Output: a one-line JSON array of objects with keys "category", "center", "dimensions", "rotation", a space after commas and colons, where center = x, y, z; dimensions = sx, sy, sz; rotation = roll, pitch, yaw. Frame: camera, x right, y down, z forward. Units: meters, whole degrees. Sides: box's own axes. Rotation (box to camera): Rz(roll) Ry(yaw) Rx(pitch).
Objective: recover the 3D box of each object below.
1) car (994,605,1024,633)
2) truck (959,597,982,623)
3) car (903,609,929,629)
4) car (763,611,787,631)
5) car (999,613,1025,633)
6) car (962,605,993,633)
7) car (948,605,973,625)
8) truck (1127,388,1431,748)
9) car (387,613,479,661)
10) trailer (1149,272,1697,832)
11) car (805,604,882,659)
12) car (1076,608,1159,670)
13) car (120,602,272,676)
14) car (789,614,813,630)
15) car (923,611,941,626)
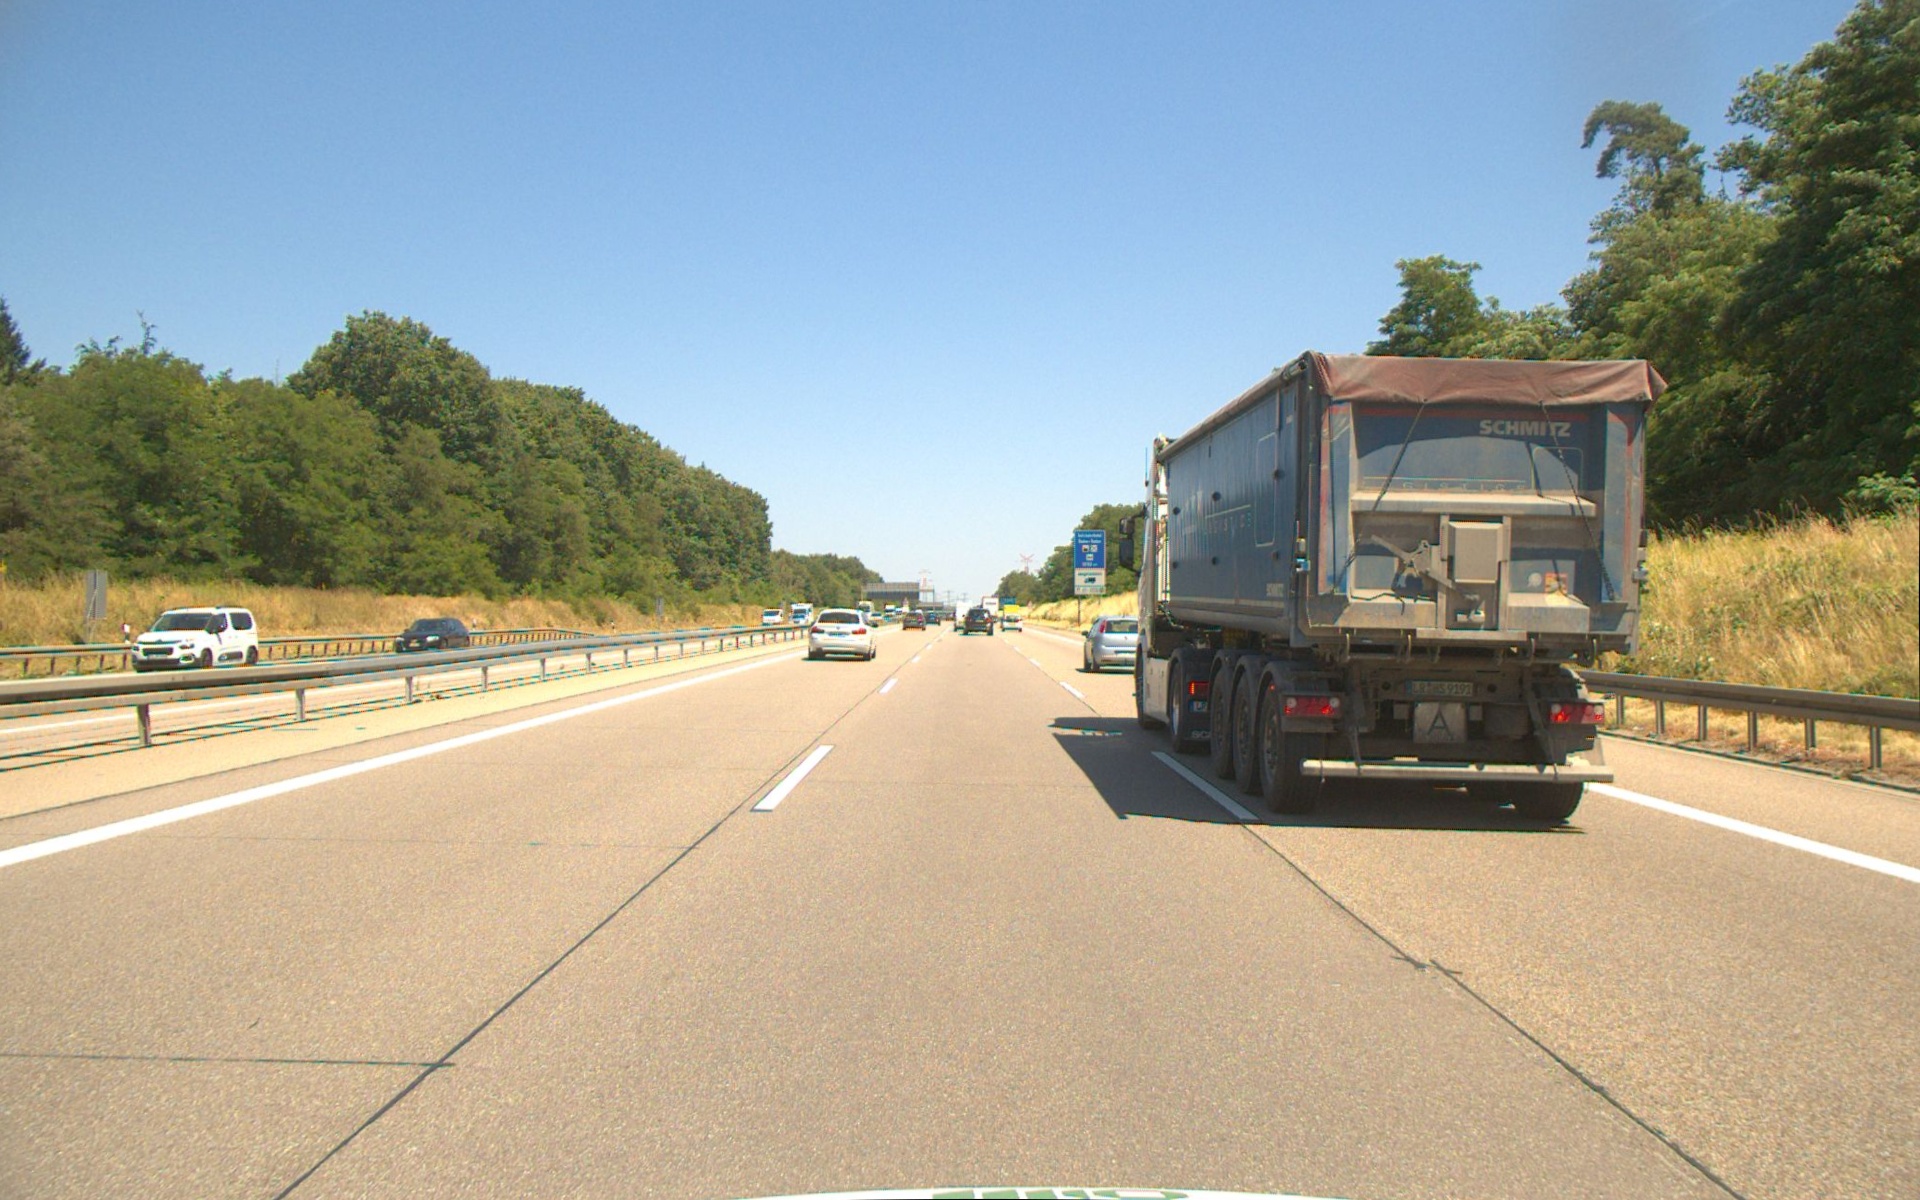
[{"category": "car", "center": [4.885, 1.903, 165.189], "dimensions": [2.613, 2.680, 6.110], "rotation": [1, -1, -2]}, {"category": "truck", "center": [1.178, 1.175, 189.384], "dimensions": [2.379, 2.935, 6.203], "rotation": [1, -1, -1]}, {"category": "car", "center": [-3.435, 1.495, 129.945], "dimensions": [1.794, 1.457, 4.999], "rotation": [1, 0, 0]}, {"category": "car", "center": [-19.649, 2.210, 175.925], "dimensions": [1.953, 1.987, 5.244], "rotation": [-2, -1, 0]}, {"category": "car", "center": [4.266, 1.907, 136.629], "dimensions": [1.785, 1.518, 3.734], "rotation": [1, -1, -3]}, {"category": "car", "center": [1.140, 1.252, 108.794], "dimensions": [1.795, 1.701, 3.998], "rotation": [2, -1, -2]}, {"category": "car", "center": [0.014, 1.134, 128.575], "dimensions": [1.855, 1.495, 4.261], "rotation": [2, 0, 0]}, {"category": "truck", "center": [3.722, -0.350, 20.720], "dimensions": [2.629, 3.824, 5.943], "rotation": [1, 0, 0]}, {"category": "car", "center": [-20.415, 1.401, 64.247], "dimensions": [1.953, 1.733, 4.979], "rotation": [-2, 0, 0]}, {"category": "trailer", "center": [3.709, -0.339, 15.933], "dimensions": [2.681, 3.824, 9.108], "rotation": [1, 0, 0]}, {"category": "car", "center": [-3.439, 0.913, 49.684], "dimensions": [1.923, 1.530, 5.404], "rotation": [1, -1, 0]}, {"category": "car", "center": [4.149, 1.008, 44.007], "dimensions": [1.685, 1.517, 3.735], "rotation": [1, 0, -2]}, {"category": "car", "center": [-20.753, 1.036, 45.149], "dimensions": [1.953, 1.860, 4.642], "rotation": [-2, 0, 0]}, {"category": "car", "center": [-16.193, 2.259, 168.297], "dimensions": [1.813, 1.554, 5.205], "rotation": [-1, -1, 1]}, {"category": "car", "center": [-3.075, 2.027, 183.525], "dimensions": [1.837, 1.608, 3.928], "rotation": [1, 0, 0]}]
